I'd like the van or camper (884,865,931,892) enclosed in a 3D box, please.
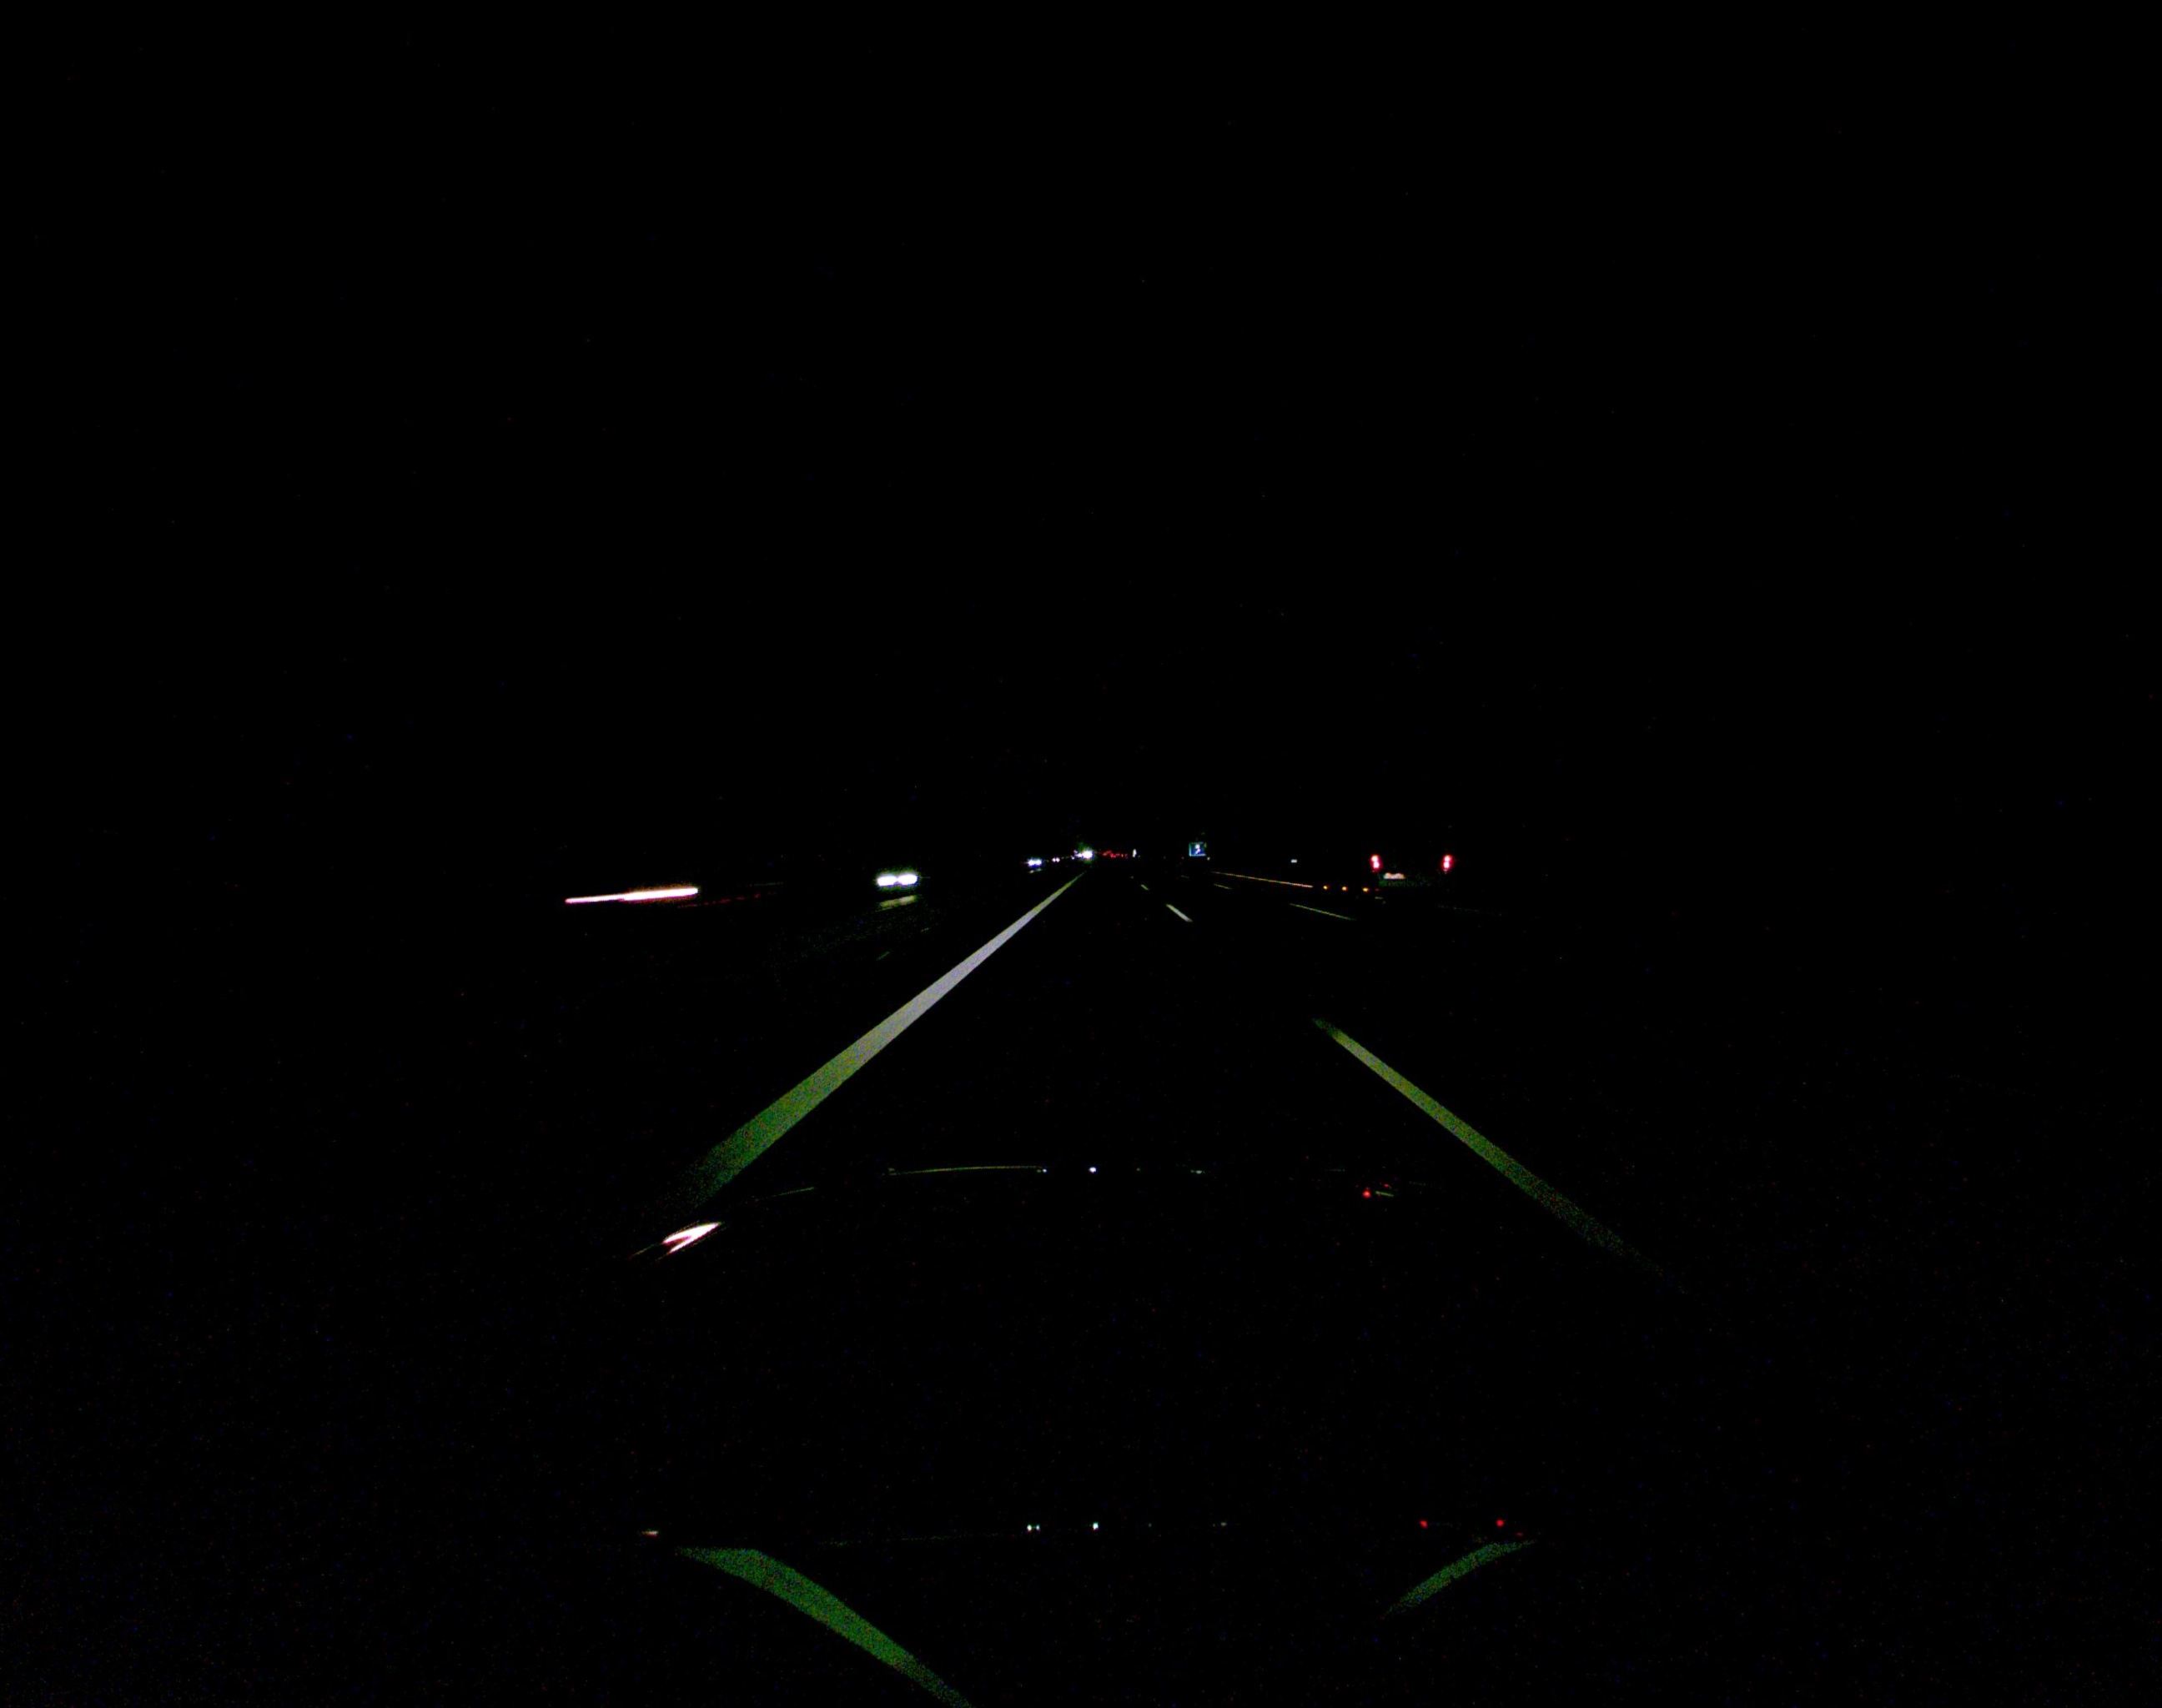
[{"bbox_3d":[-11.119,1.548,52.573,1.773,1.441,5.104,-4,0,1],"label":"van or camper"}]

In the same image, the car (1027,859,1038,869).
[{"bbox_3d":[-9.239,1.897,154.158,1.989,1.638,5.069,-2,0,-3],"label":"car"}]

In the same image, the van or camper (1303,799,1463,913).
[{"bbox_3d":[8.305,0.037,23.312,2.199,2.771,6.806,-1,0,1],"label":"van or camper"}]

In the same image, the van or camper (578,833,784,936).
[{"bbox_3d":[-12.264,0.804,25.970,2.321,2.631,7.780,-4,0,2],"label":"van or camper"}]
